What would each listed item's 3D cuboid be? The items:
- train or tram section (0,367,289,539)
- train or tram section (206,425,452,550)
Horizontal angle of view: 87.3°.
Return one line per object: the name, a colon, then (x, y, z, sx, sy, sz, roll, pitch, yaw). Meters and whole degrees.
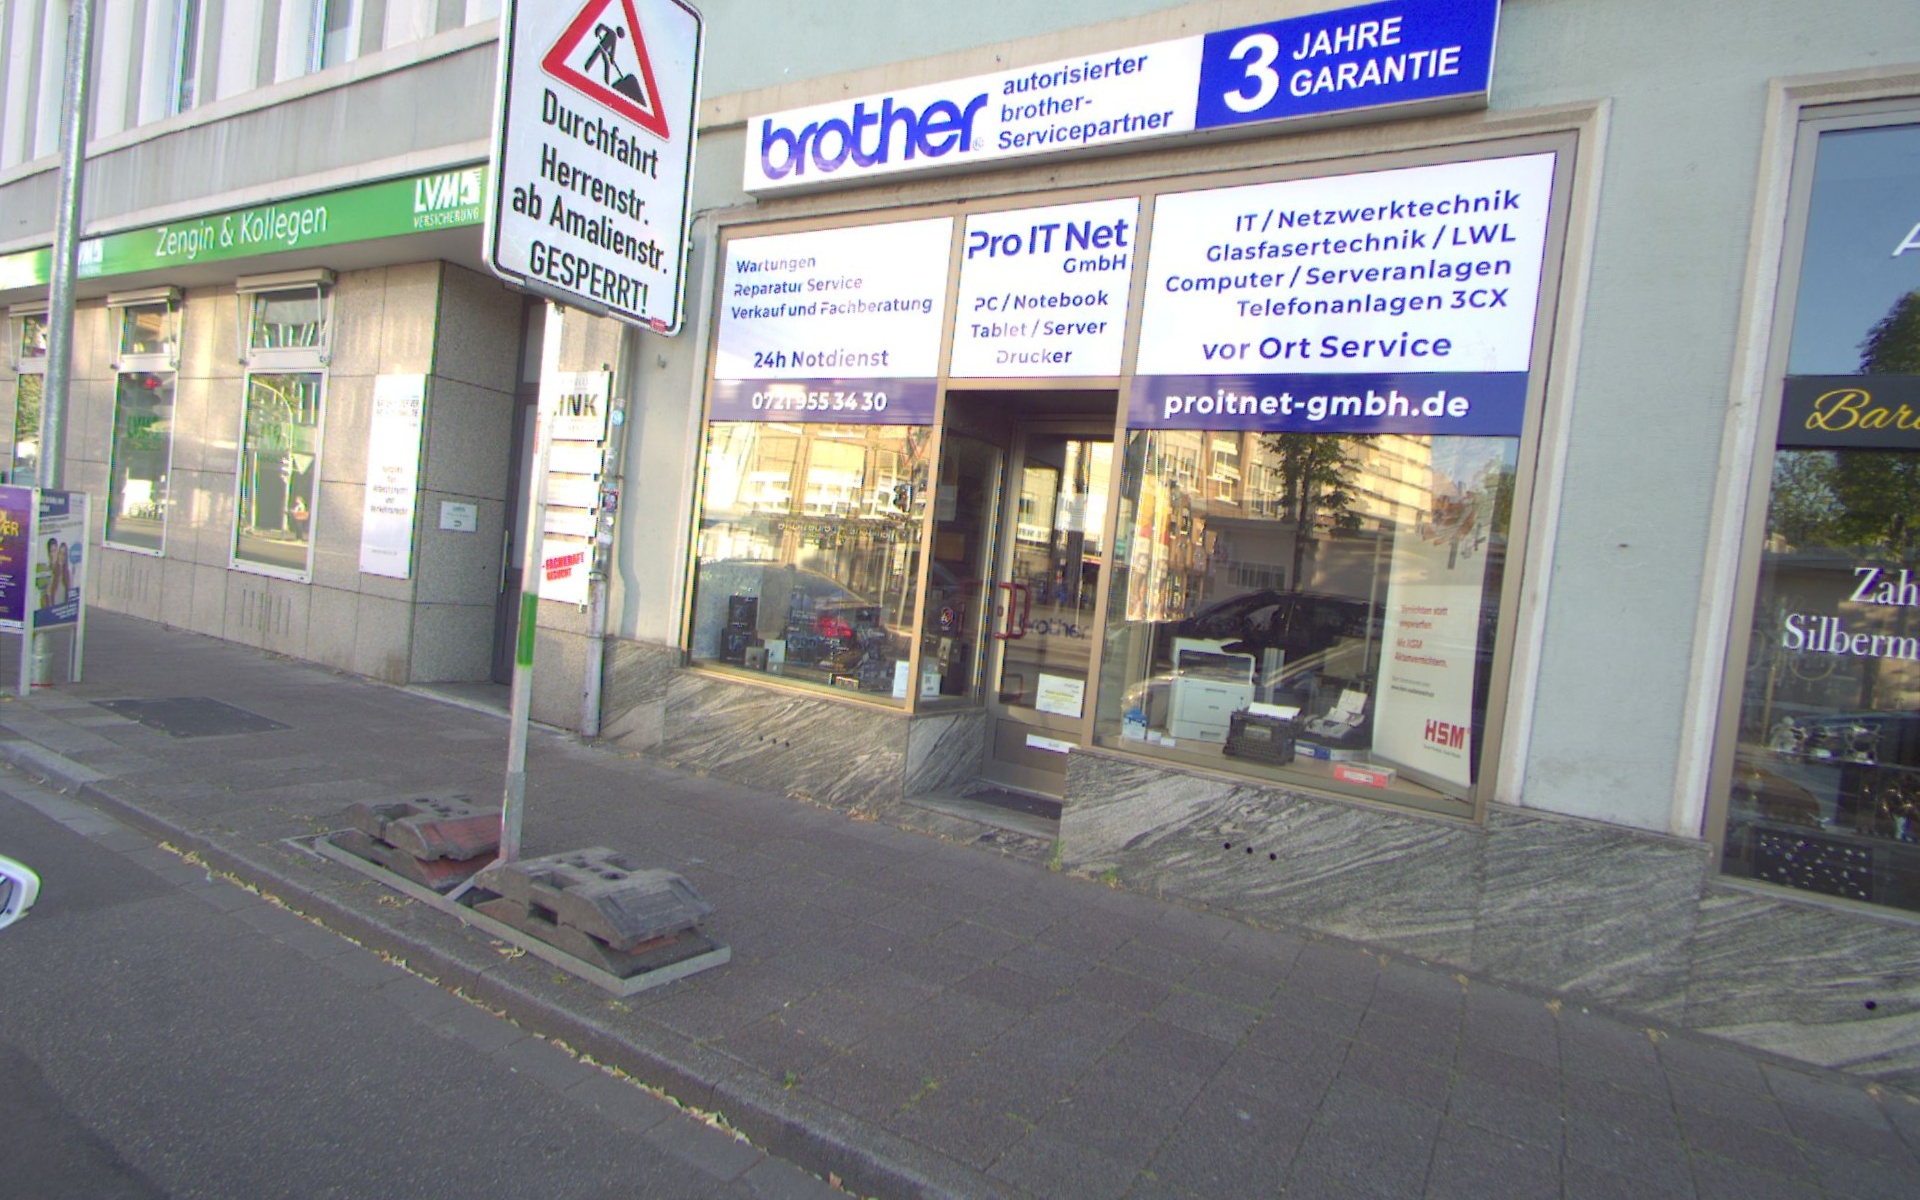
train or tram section: (-25.939, -4.189, 29.967, 3.024, 3.916, 12.647, 6, 1, 1)
train or tram section: (-25.653, -4.346, 41.878, 3.024, 3.861, 10.452, 6, 1, 2)
